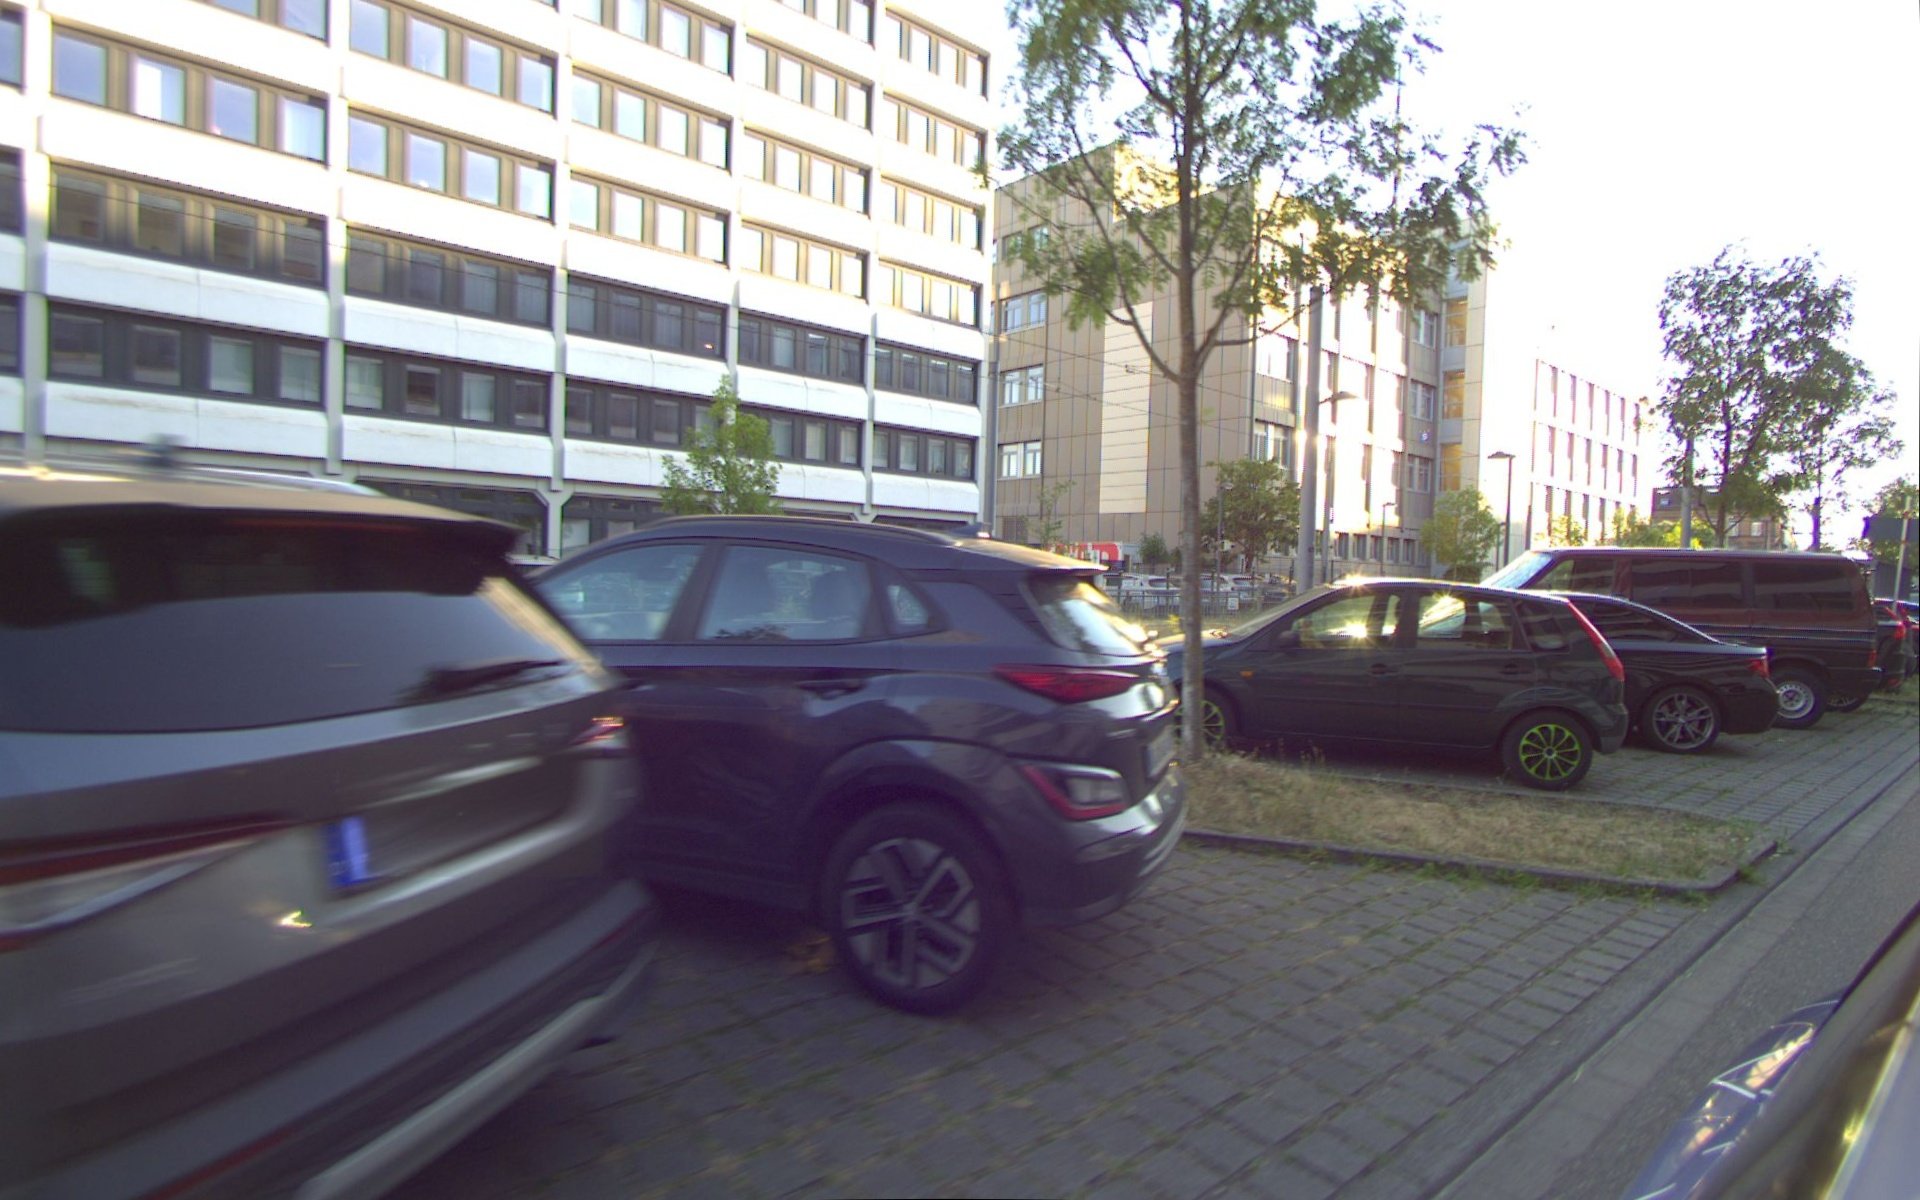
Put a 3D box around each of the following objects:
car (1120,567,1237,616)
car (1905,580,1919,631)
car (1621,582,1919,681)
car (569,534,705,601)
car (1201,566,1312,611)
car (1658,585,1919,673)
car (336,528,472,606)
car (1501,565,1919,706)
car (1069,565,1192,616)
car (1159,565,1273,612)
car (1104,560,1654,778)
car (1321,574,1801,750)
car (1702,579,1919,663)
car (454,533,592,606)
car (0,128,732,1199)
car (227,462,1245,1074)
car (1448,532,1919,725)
[{"bbox_3d":[8.013,-0.346,37.420,1.645,1.505,3.998,1,4,-40],"label":"car"},{"bbox_3d":[43.934,0.276,45.370,4.654,2.203,1.808,1,3,-42],"label":"car"},{"bbox_3d":[14.192,0.520,17.774,3.940,1.615,1.730,0,0,14],"label":"car"},{"bbox_3d":[-7.699,-0.701,23.941,1.564,1.416,3.992,1,-1,-42],"label":"car"},{"bbox_3d":[11.807,-0.470,40.502,1.645,1.505,3.998,1,4,-40],"label":"car"},{"bbox_3d":[16.164,0.512,19.577,3.938,1.483,1.731,2,1,12],"label":"car"},{"bbox_3d":[-11.328,-0.591,20.501,1.564,1.416,3.992,1,-1,-42],"label":"car"},{"bbox_3d":[10.444,0.440,14.355,4.539,1.771,1.862,1,0,16],"label":"car"},{"bbox_3d":[5.983,-0.368,35.871,1.793,1.531,3.995,1,3,-42],"label":"car"},{"bbox_3d":[9.814,-0.463,38.957,1.645,1.505,3.998,1,4,-40],"label":"car"},{"bbox_3d":[3.120,0.456,8.209,3.723,1.461,1.756,1,0,14],"label":"car"},{"bbox_3d":[5.646,0.525,10.004,3.723,1.484,1.632,1,0,14],"label":"car"},{"bbox_3d":[18.689,0.423,21.719,3.942,1.539,1.920,3,3,14],"label":"car"},{"bbox_3d":[-9.558,-0.595,21.993,1.564,1.416,3.992,1,-1,-42],"label":"car"},{"bbox_3d":[-2.629,0.339,2.340,3.727,1.748,1.754,1,0,17],"label":"car"},{"bbox_3d":[-0.919,0.338,4.449,3.941,1.659,1.959,4,3,22],"label":"car"},{"bbox_3d":[8.598,0.281,12.258,4.539,2.061,1.862,1,0,16],"label":"car"}]
